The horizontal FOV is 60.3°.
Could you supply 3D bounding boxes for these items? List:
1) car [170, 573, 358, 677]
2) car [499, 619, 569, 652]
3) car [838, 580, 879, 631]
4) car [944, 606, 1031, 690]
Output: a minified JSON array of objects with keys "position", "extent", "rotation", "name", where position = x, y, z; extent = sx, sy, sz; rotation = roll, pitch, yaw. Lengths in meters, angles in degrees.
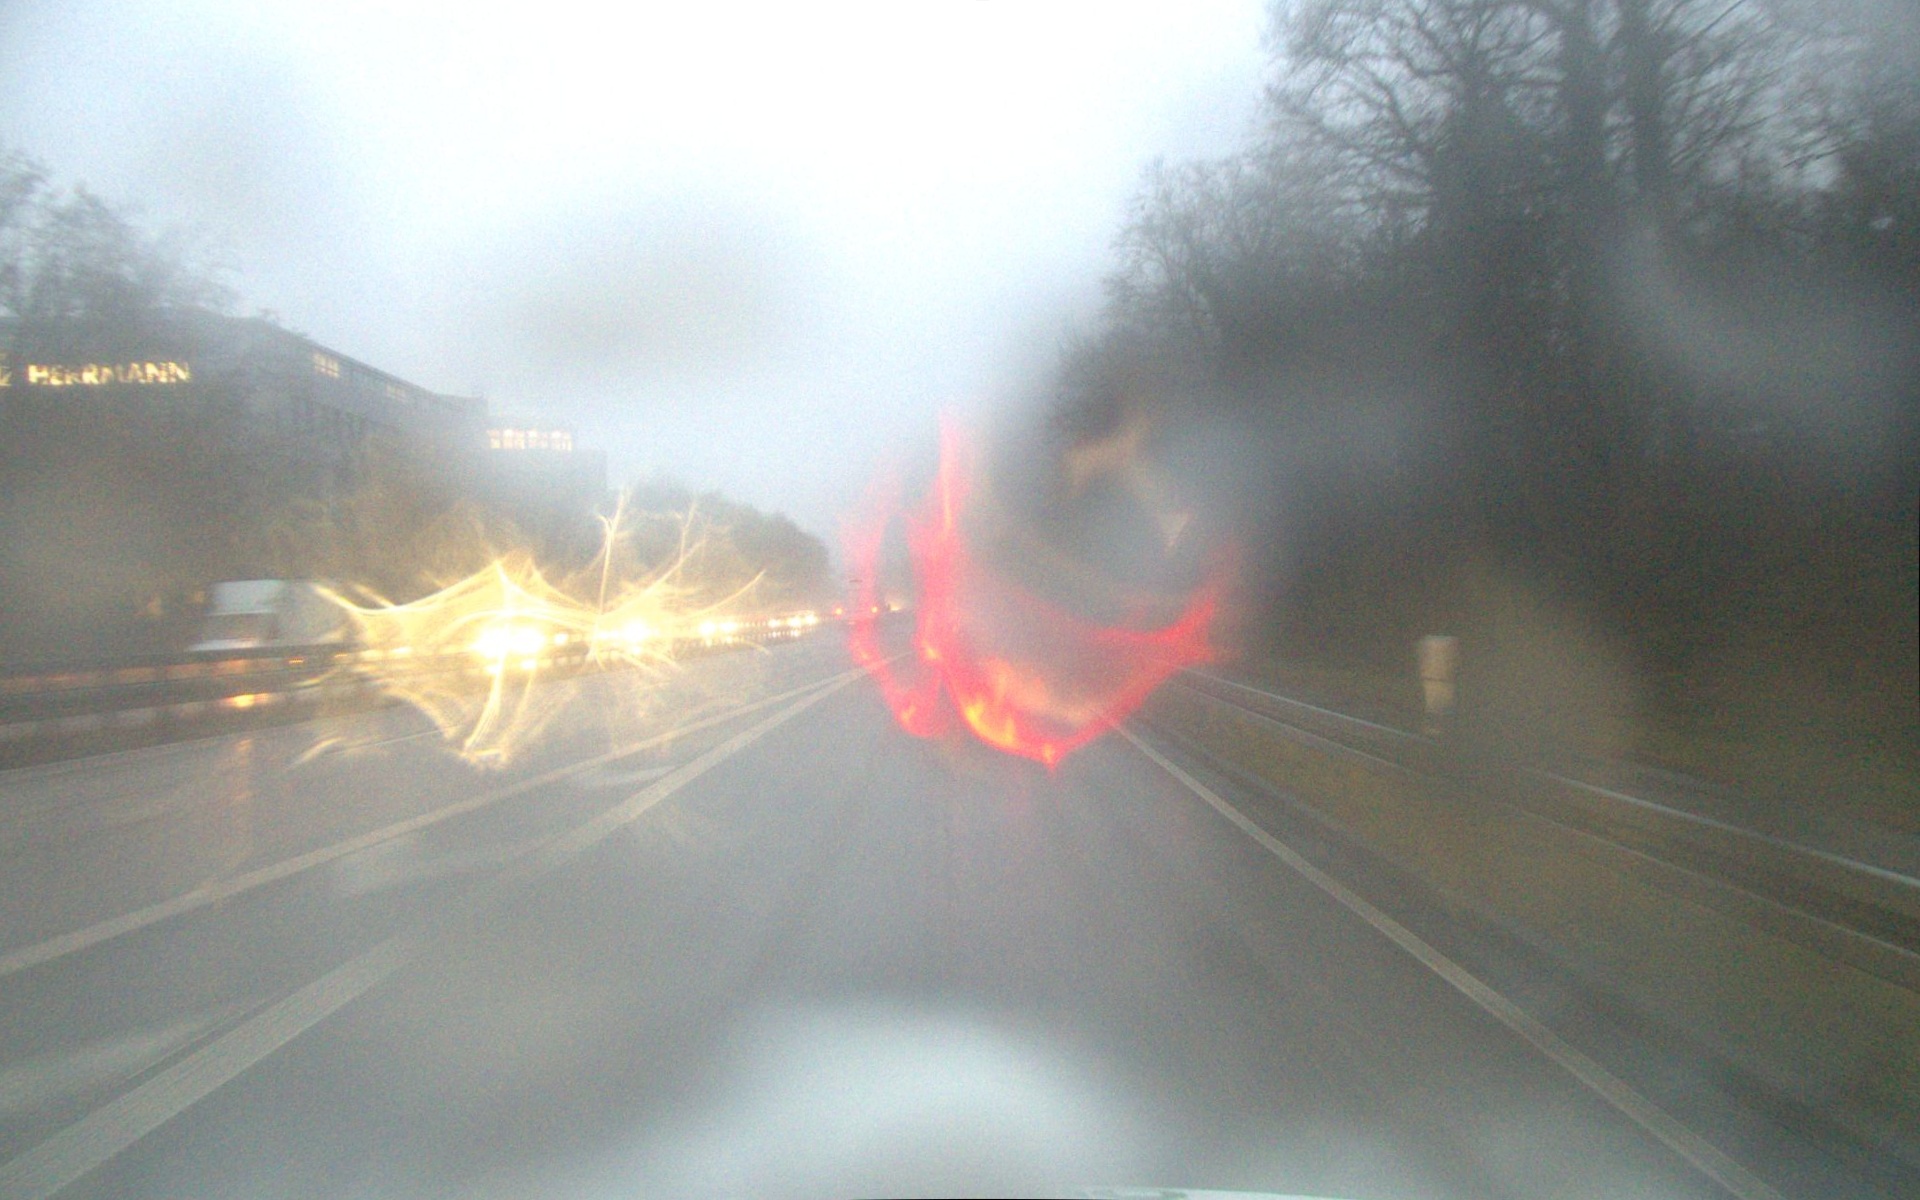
[{"position":[-19.945,0.686,47.846],"extent":[2.474,2.778,6.342],"rotation":[0,0,3],"name":"car"},{"position":[-18.395,1.511,71.586],"extent":[1.674,1.345,4.474],"rotation":[0,0,3],"name":"car"},{"position":[-5.105,0.267,83.561],"extent":[1.960,2.496,3.998],"rotation":[0,0,-2],"name":"car"},{"position":[0.472,0.841,30.311],"extent":[1.496,1.440,3.478],"rotation":[0,0,0],"name":"car"}]
